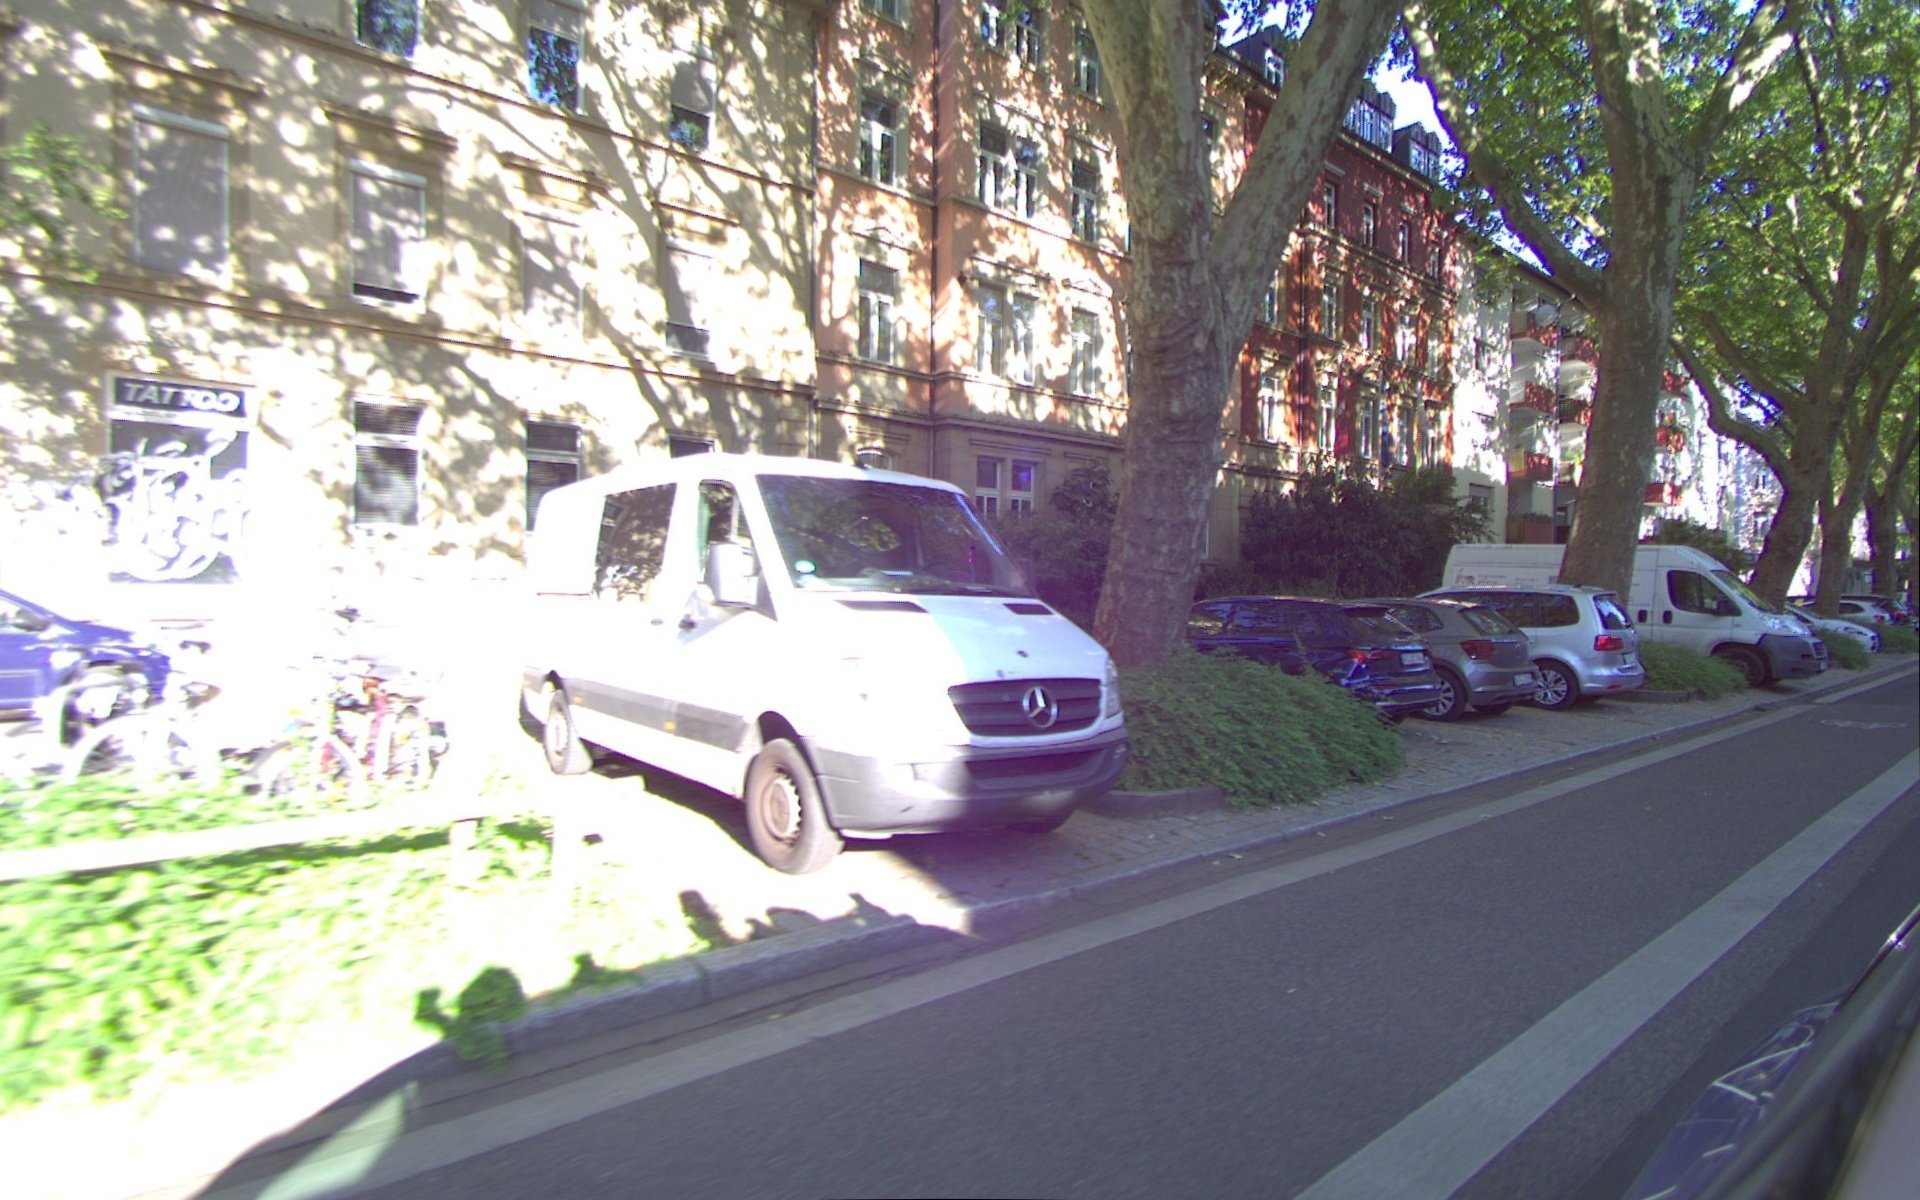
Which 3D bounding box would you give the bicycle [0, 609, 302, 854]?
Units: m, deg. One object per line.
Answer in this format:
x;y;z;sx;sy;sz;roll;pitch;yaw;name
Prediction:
-4.878;0.689;6.233;0.405;1.193;2.050;0;1;-3;bicycle

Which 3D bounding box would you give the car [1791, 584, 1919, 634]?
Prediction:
32.731;0.301;36.306;1.713;1.673;4.297;0;1;-42;car

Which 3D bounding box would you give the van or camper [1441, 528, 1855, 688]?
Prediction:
12.513;0.028;18.902;2.070;2.522;6.045;0;2;-40;van or camper

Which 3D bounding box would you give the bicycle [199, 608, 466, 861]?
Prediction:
-3.614;0.677;6.048;0.405;1.193;2.050;0;1;-3;bicycle

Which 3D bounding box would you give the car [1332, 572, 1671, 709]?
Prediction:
7.682;0.445;14.628;1.766;1.676;3.960;-1;2;-42;car

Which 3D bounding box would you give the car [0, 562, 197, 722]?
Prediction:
-9.641;0.393;9.754;3.511;1.474;1.734;0;0;-44;car

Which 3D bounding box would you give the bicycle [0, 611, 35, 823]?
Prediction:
-5.603;0.687;4.927;0.405;1.193;2.050;0;1;-3;bicycle

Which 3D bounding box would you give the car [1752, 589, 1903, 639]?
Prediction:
28.692;0.419;33.554;1.631;1.514;3.615;0;1;-41;car

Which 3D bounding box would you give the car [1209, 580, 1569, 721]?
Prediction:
5.441;0.526;13.236;1.764;1.496;3.963;0;2;-40;car

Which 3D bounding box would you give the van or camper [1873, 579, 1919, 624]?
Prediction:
47.224;0.095;48.952;1.808;2.136;4.381;0;2;-43;van or camper

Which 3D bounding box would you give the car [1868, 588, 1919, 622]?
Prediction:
45.073;0.227;47.425;1.648;1.550;3.568;0;1;-41;car

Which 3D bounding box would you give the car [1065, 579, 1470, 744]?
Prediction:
3.289;0.531;11.450;1.765;1.478;4.061;0;2;-41;car

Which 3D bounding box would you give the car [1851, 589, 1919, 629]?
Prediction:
37.419;0.362;39.529;3.828;1.461;1.673;3;2;45;car

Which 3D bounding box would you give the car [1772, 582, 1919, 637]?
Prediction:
30.680;0.288;34.822;1.773;1.766;4.002;0;1;-40;car

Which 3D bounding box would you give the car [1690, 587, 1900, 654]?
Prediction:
21.667;0.475;26.395;1.658;1.498;3.963;0;2;-39;car

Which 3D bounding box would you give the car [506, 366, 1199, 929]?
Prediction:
-1.361;0.125;7.142;1.969;2.311;6.008;1;1;-38;car

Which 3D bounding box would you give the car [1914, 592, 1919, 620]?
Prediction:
51.041;0.347;51.346;1.694;1.457;3.573;0;1;-36;car

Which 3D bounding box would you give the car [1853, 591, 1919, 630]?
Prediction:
39.062;0.450;40.896;1.877;1.500;4.207;0;2;-38;car
